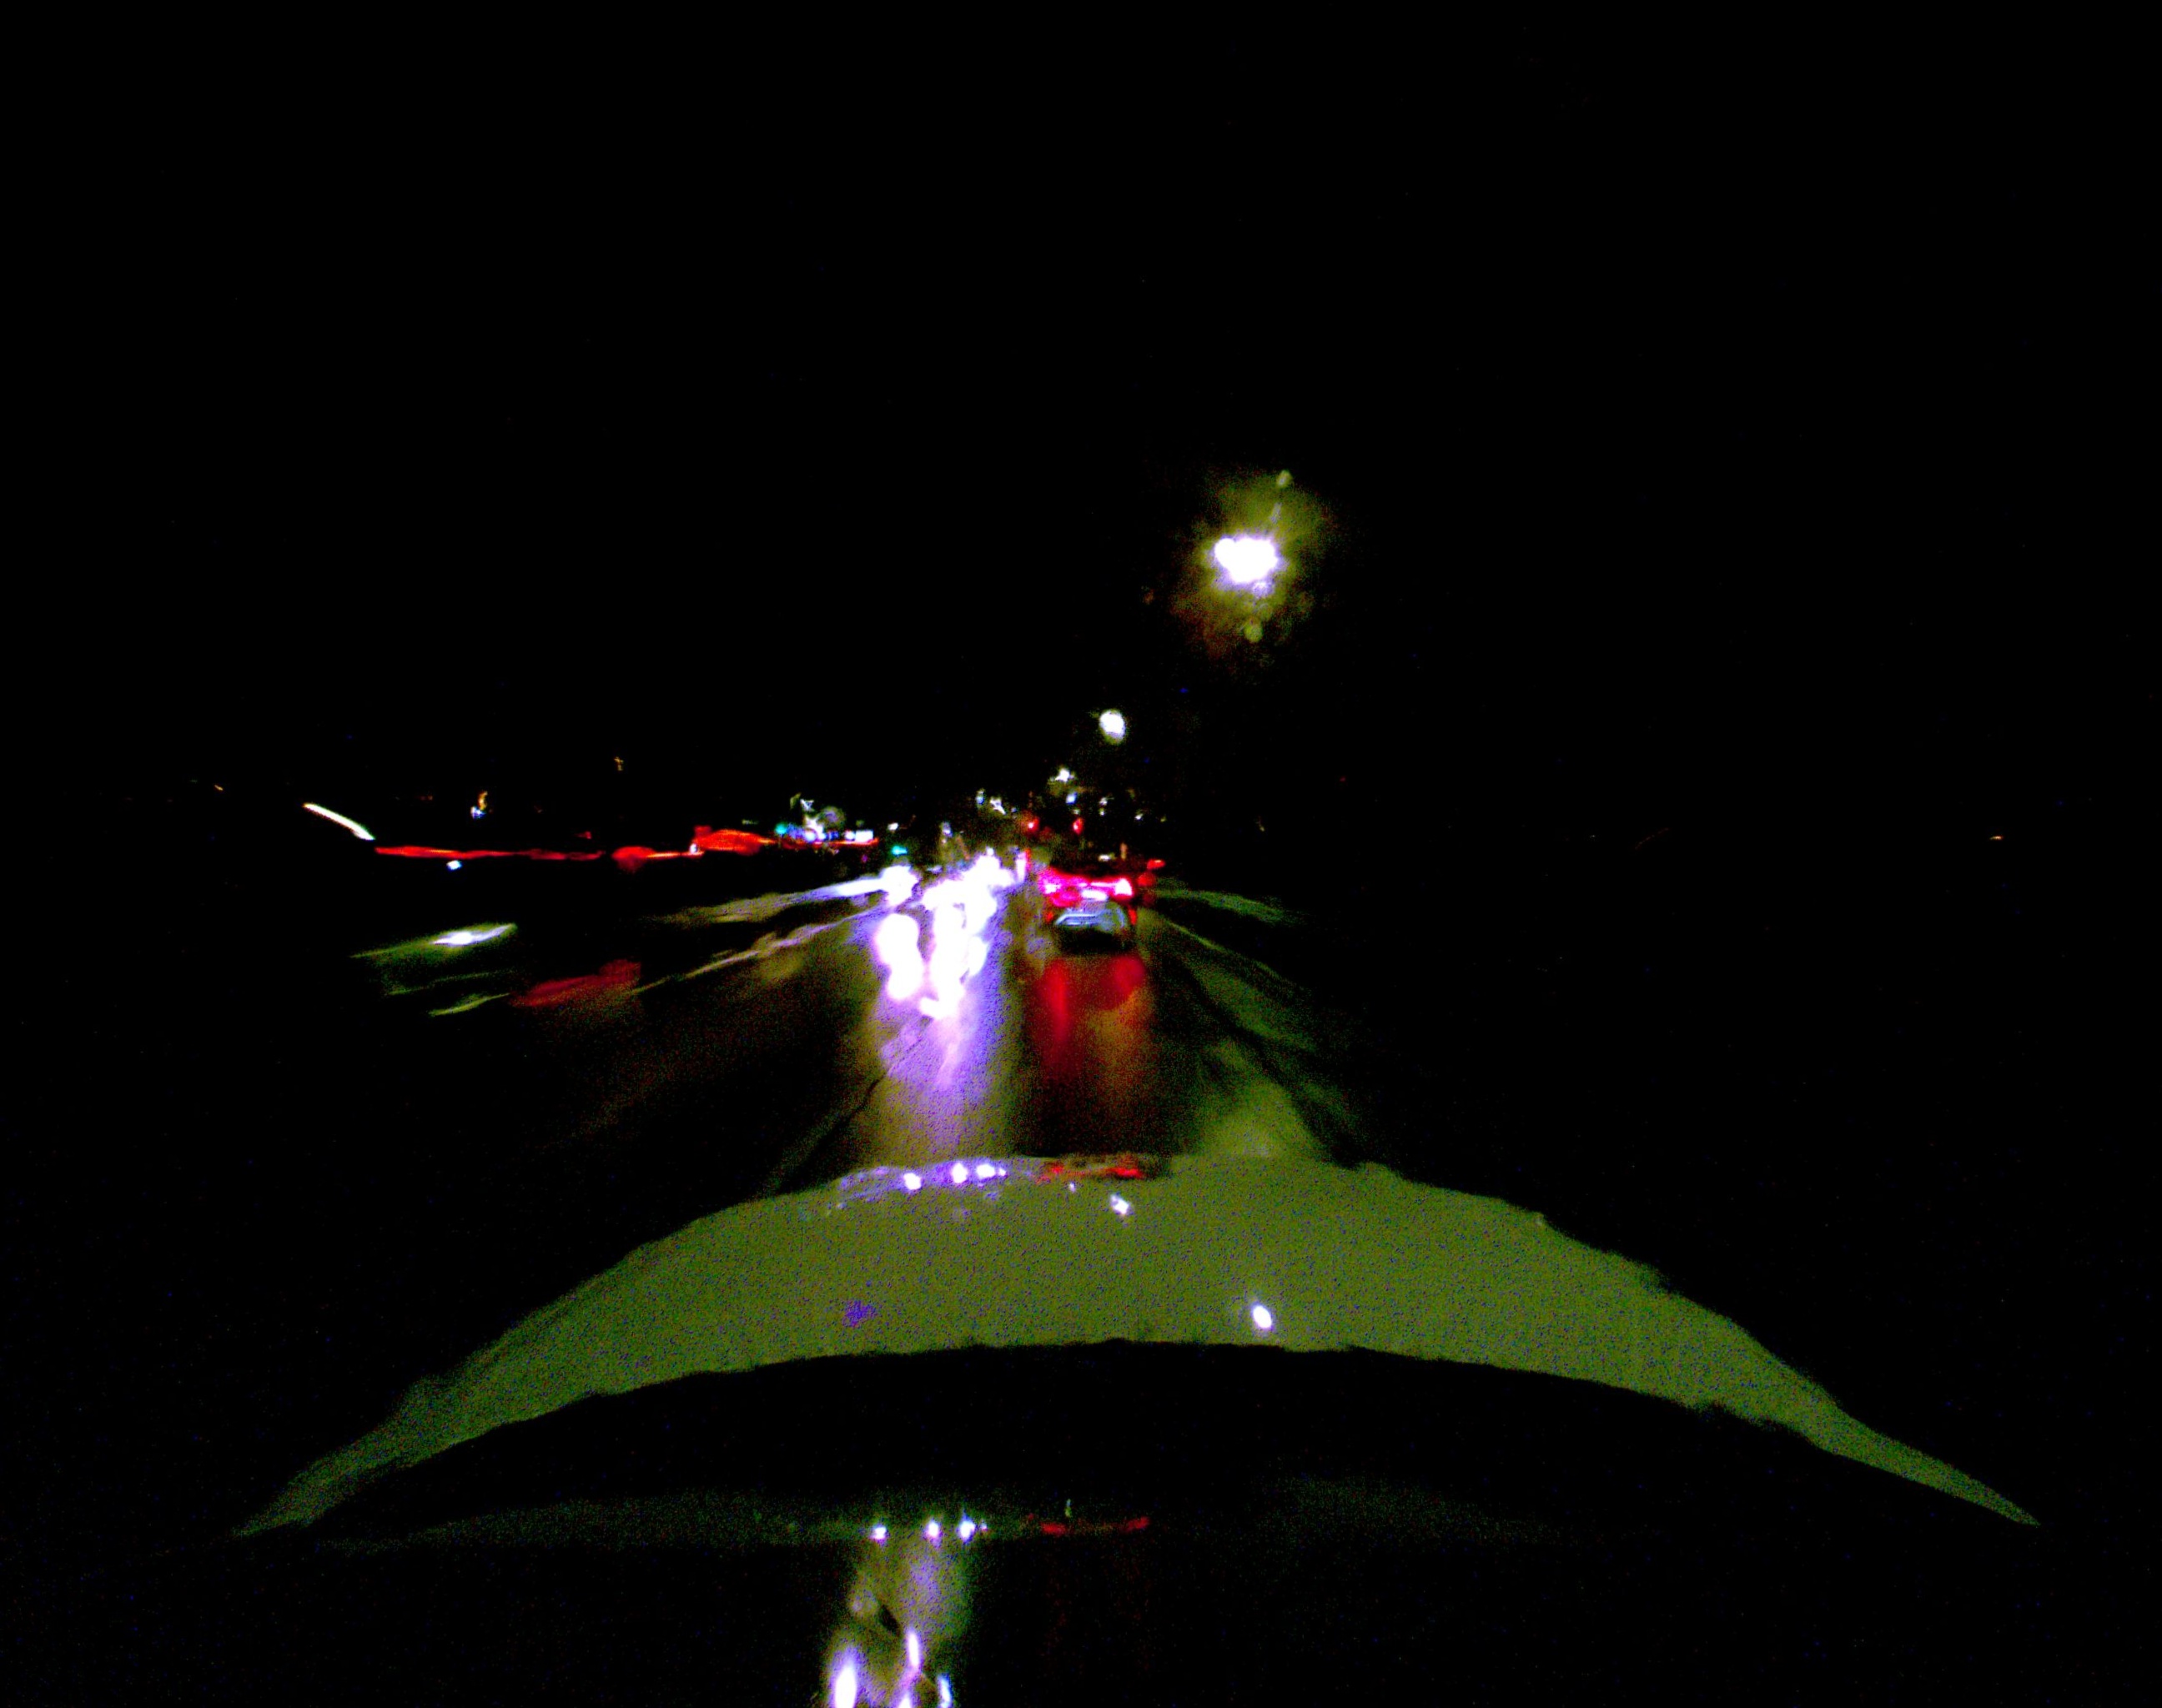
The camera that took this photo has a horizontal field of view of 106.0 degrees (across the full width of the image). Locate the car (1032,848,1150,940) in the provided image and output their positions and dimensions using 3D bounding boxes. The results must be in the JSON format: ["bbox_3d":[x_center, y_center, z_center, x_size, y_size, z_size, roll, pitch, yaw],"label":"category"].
[{"bbox_3d":[0.249,0.660,15.676,1.986,1.524,4.002,0,0,2],"label":"car"}]

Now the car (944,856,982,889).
[{"bbox_3d":[-5.725,0.858,39.800,1.615,1.478,4.038,-1,0,-5],"label":"car"}]

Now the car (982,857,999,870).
[{"bbox_3d":[-10.565,1.083,95.076,1.822,1.403,4.026,1,0,-7],"label":"car"}]

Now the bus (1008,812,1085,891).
[{"bbox_3d":[-1.836,-0.108,38.677,3.039,3.212,9.031,-1,0,-6],"label":"bus"}]

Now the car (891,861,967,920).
[{"bbox_3d":[-4.111,0.931,22.553,1.662,1.432,3.813,-1,0,-5],"label":"car"}]

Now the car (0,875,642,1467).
[{"bbox_3d":[-3.517,0.816,2.528,1.786,1.392,4.590,-2,-1,0],"label":"car"}]
